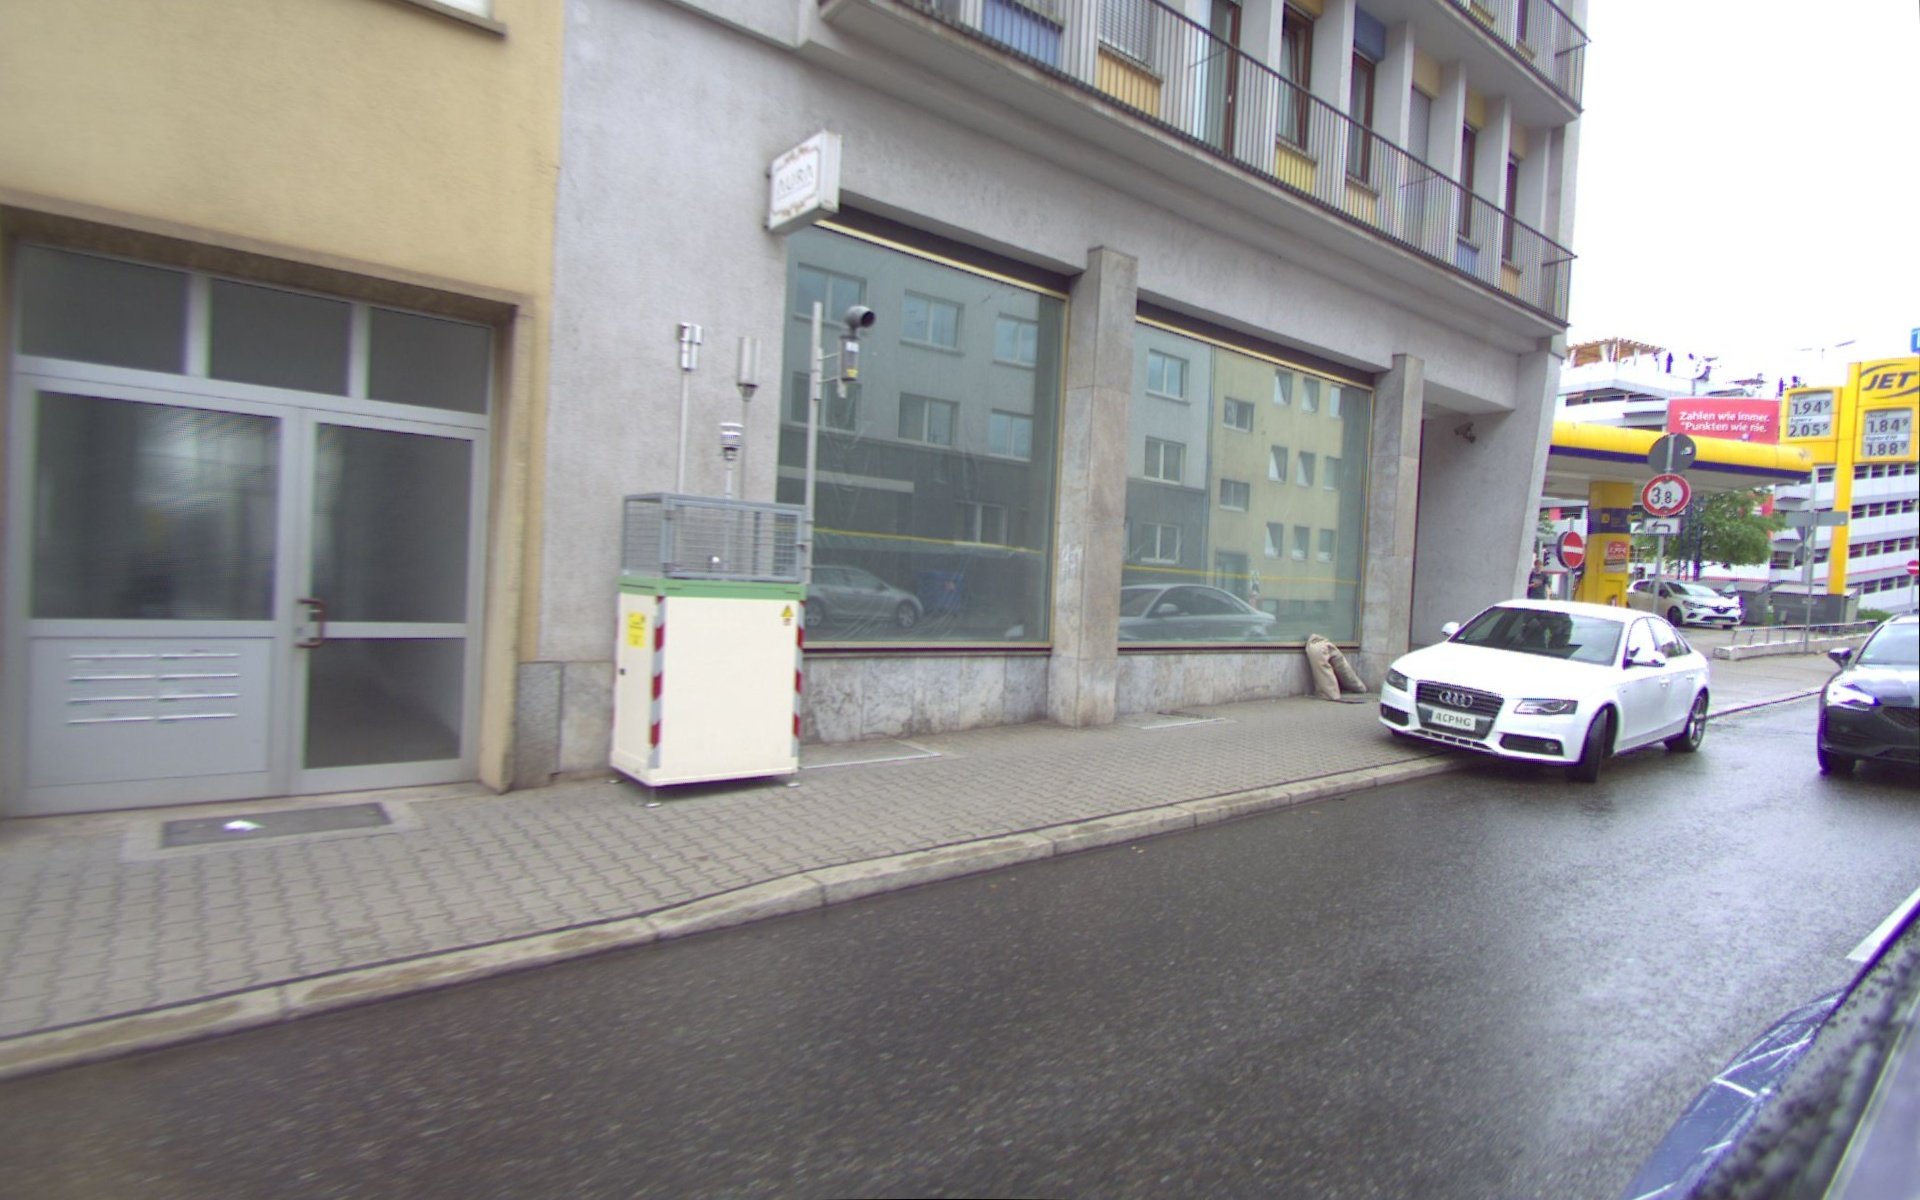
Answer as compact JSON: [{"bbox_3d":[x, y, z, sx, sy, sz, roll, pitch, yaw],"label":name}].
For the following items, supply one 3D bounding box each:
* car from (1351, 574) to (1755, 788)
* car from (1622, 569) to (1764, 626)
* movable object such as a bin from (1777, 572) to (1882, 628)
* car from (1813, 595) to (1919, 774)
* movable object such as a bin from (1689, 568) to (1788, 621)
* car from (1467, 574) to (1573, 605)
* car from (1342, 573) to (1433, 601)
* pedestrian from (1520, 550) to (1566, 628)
[{"bbox_3d":[5.915,0.622,9.859,4.527,1.418,1.899,1,7,-41],"label":"car"},{"bbox_3d":[22.905,-0.136,31.825,1.715,1.459,3.997,3,4,5],"label":"car"},{"bbox_3d":[27.588,-0.007,32.129,1.740,1.593,2.163,1,3,-37],"label":"movable object such as a bin"},{"bbox_3d":[9.490,0.704,9.343,4.501,1.405,1.738,1,1,-40],"label":"car"},{"bbox_3d":[26.103,-0.198,33.963,1.740,1.574,2.163,1,4,-37],"label":"movable object such as a bin"},{"bbox_3d":[32.558,-0.635,58.942,1.966,1.652,5.028,1,1,-43],"label":"car"},{"bbox_3d":[27.518,-0.853,65.252,1.966,1.652,5.028,1,1,-43],"label":"car"},{"bbox_3d":[13.911,-0.282,24.159,0.649,1.792,0.529,4,4,10],"label":"pedestrian"}]
